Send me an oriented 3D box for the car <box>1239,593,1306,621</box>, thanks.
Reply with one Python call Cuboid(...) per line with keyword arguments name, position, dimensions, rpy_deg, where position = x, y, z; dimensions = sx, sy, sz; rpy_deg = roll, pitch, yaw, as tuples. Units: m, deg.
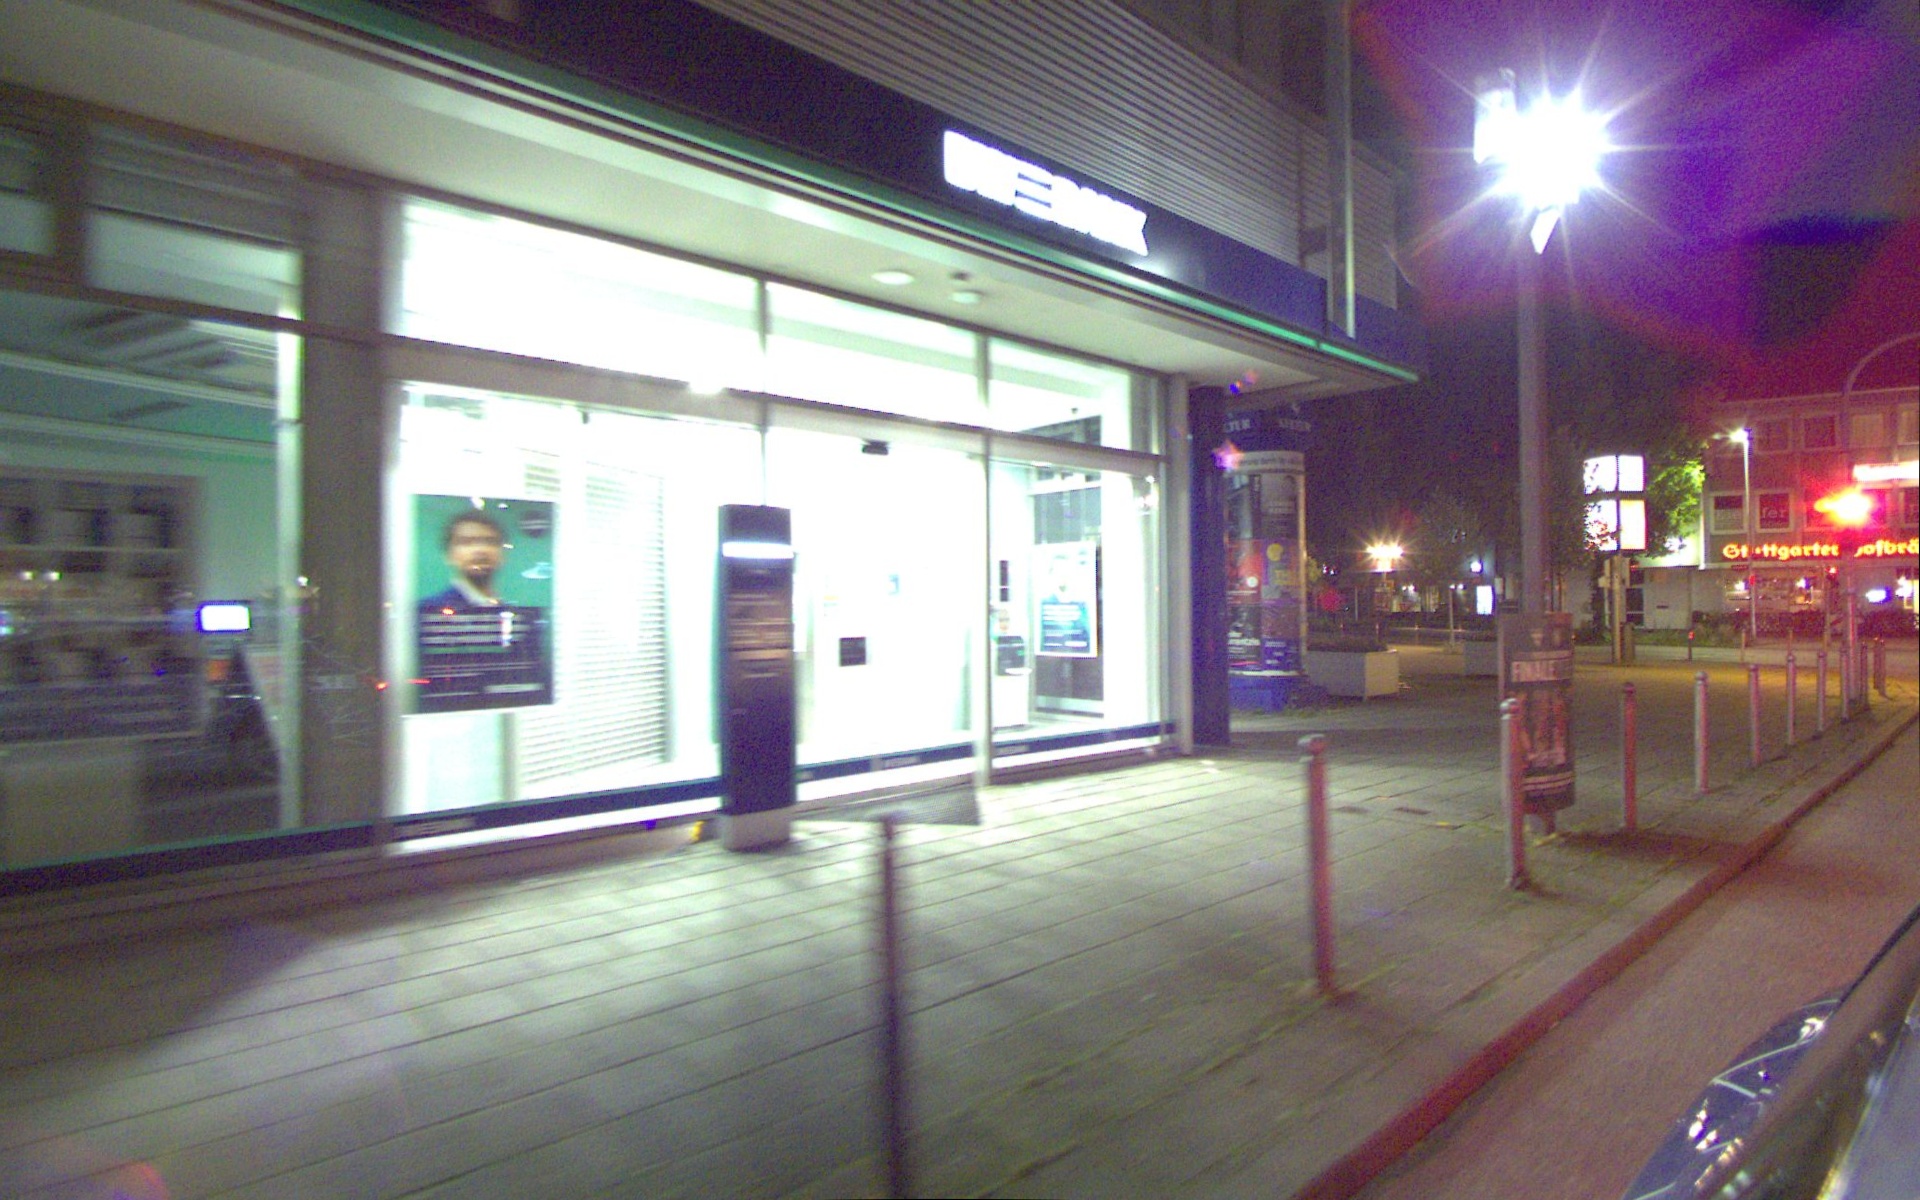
Cuboid(name="car", position=(19.523, 0.442, 63.325), dimensions=(1.836, 1.674, 3.869), rpy_deg=(2, 0, -27))
